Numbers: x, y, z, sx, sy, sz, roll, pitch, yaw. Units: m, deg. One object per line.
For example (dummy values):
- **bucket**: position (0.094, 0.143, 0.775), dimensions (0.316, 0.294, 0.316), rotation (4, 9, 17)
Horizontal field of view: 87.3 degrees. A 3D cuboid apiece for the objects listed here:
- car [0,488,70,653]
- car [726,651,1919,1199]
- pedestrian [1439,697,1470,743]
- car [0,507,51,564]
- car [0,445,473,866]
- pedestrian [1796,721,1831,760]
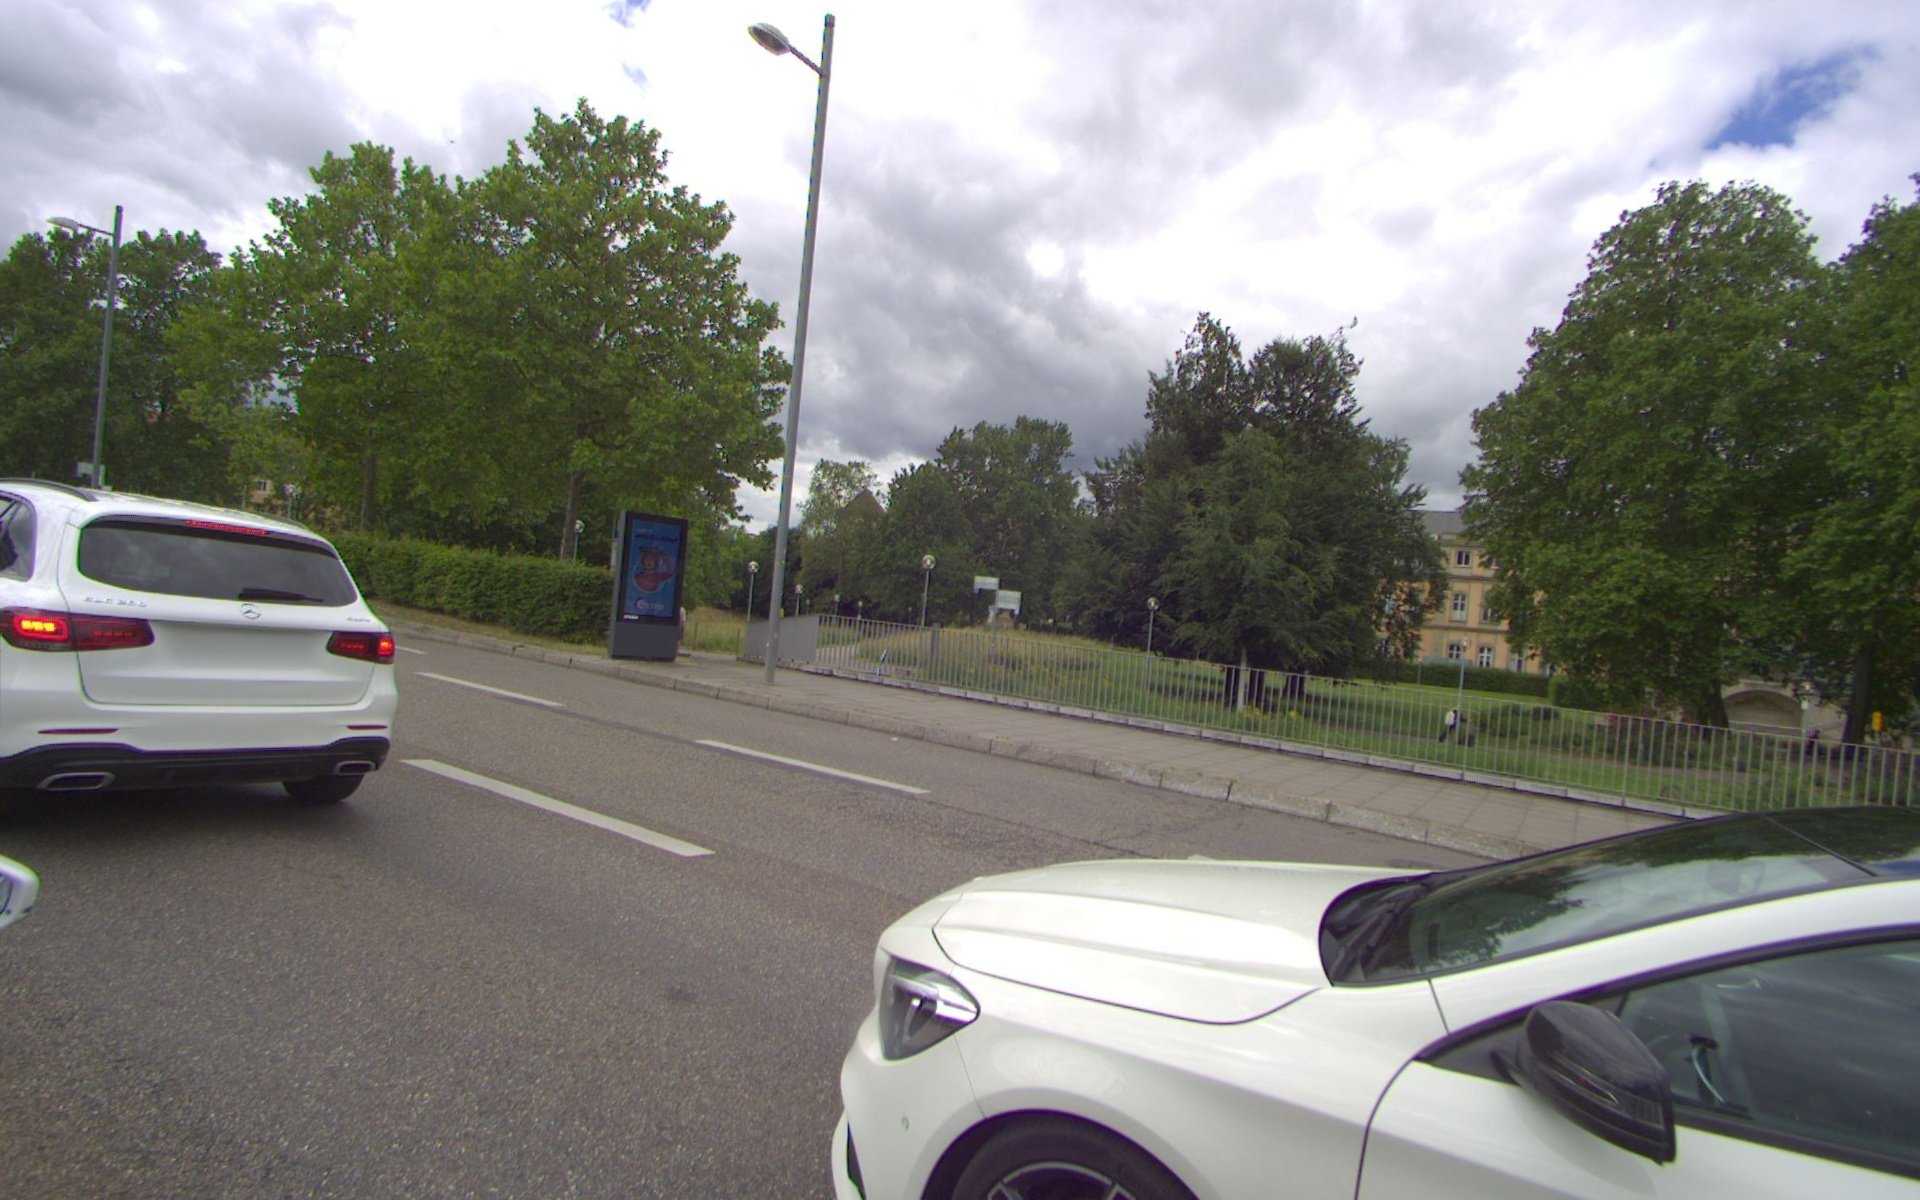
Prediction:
- **car**: position (-11.384, -0.519, 10.500), dimensions (4.417, 1.569, 1.929), rotation (6, -2, 33)
- **car**: position (1.851, 1.083, 1.829), dimensions (4.454, 1.436, 1.796), rotation (5, -2, 33)
- **pedestrian**: position (18.368, 4.450, 37.350), dimensions (0.645, 1.619, 0.684), rotation (7, -2, -2)
- **car**: position (-29.212, -2.045, 30.206), dimensions (4.459, 1.476, 1.933), rotation (5, -3, 37)
- **car**: position (-5.135, 0.104, 5.956), dimensions (4.417, 1.673, 1.929), rotation (7, -1, 33)
- **pedestrian**: position (48.701, 7.994, 57.376), dimensions (0.930, 2.036, 1.101), rotation (7, -2, -22)
